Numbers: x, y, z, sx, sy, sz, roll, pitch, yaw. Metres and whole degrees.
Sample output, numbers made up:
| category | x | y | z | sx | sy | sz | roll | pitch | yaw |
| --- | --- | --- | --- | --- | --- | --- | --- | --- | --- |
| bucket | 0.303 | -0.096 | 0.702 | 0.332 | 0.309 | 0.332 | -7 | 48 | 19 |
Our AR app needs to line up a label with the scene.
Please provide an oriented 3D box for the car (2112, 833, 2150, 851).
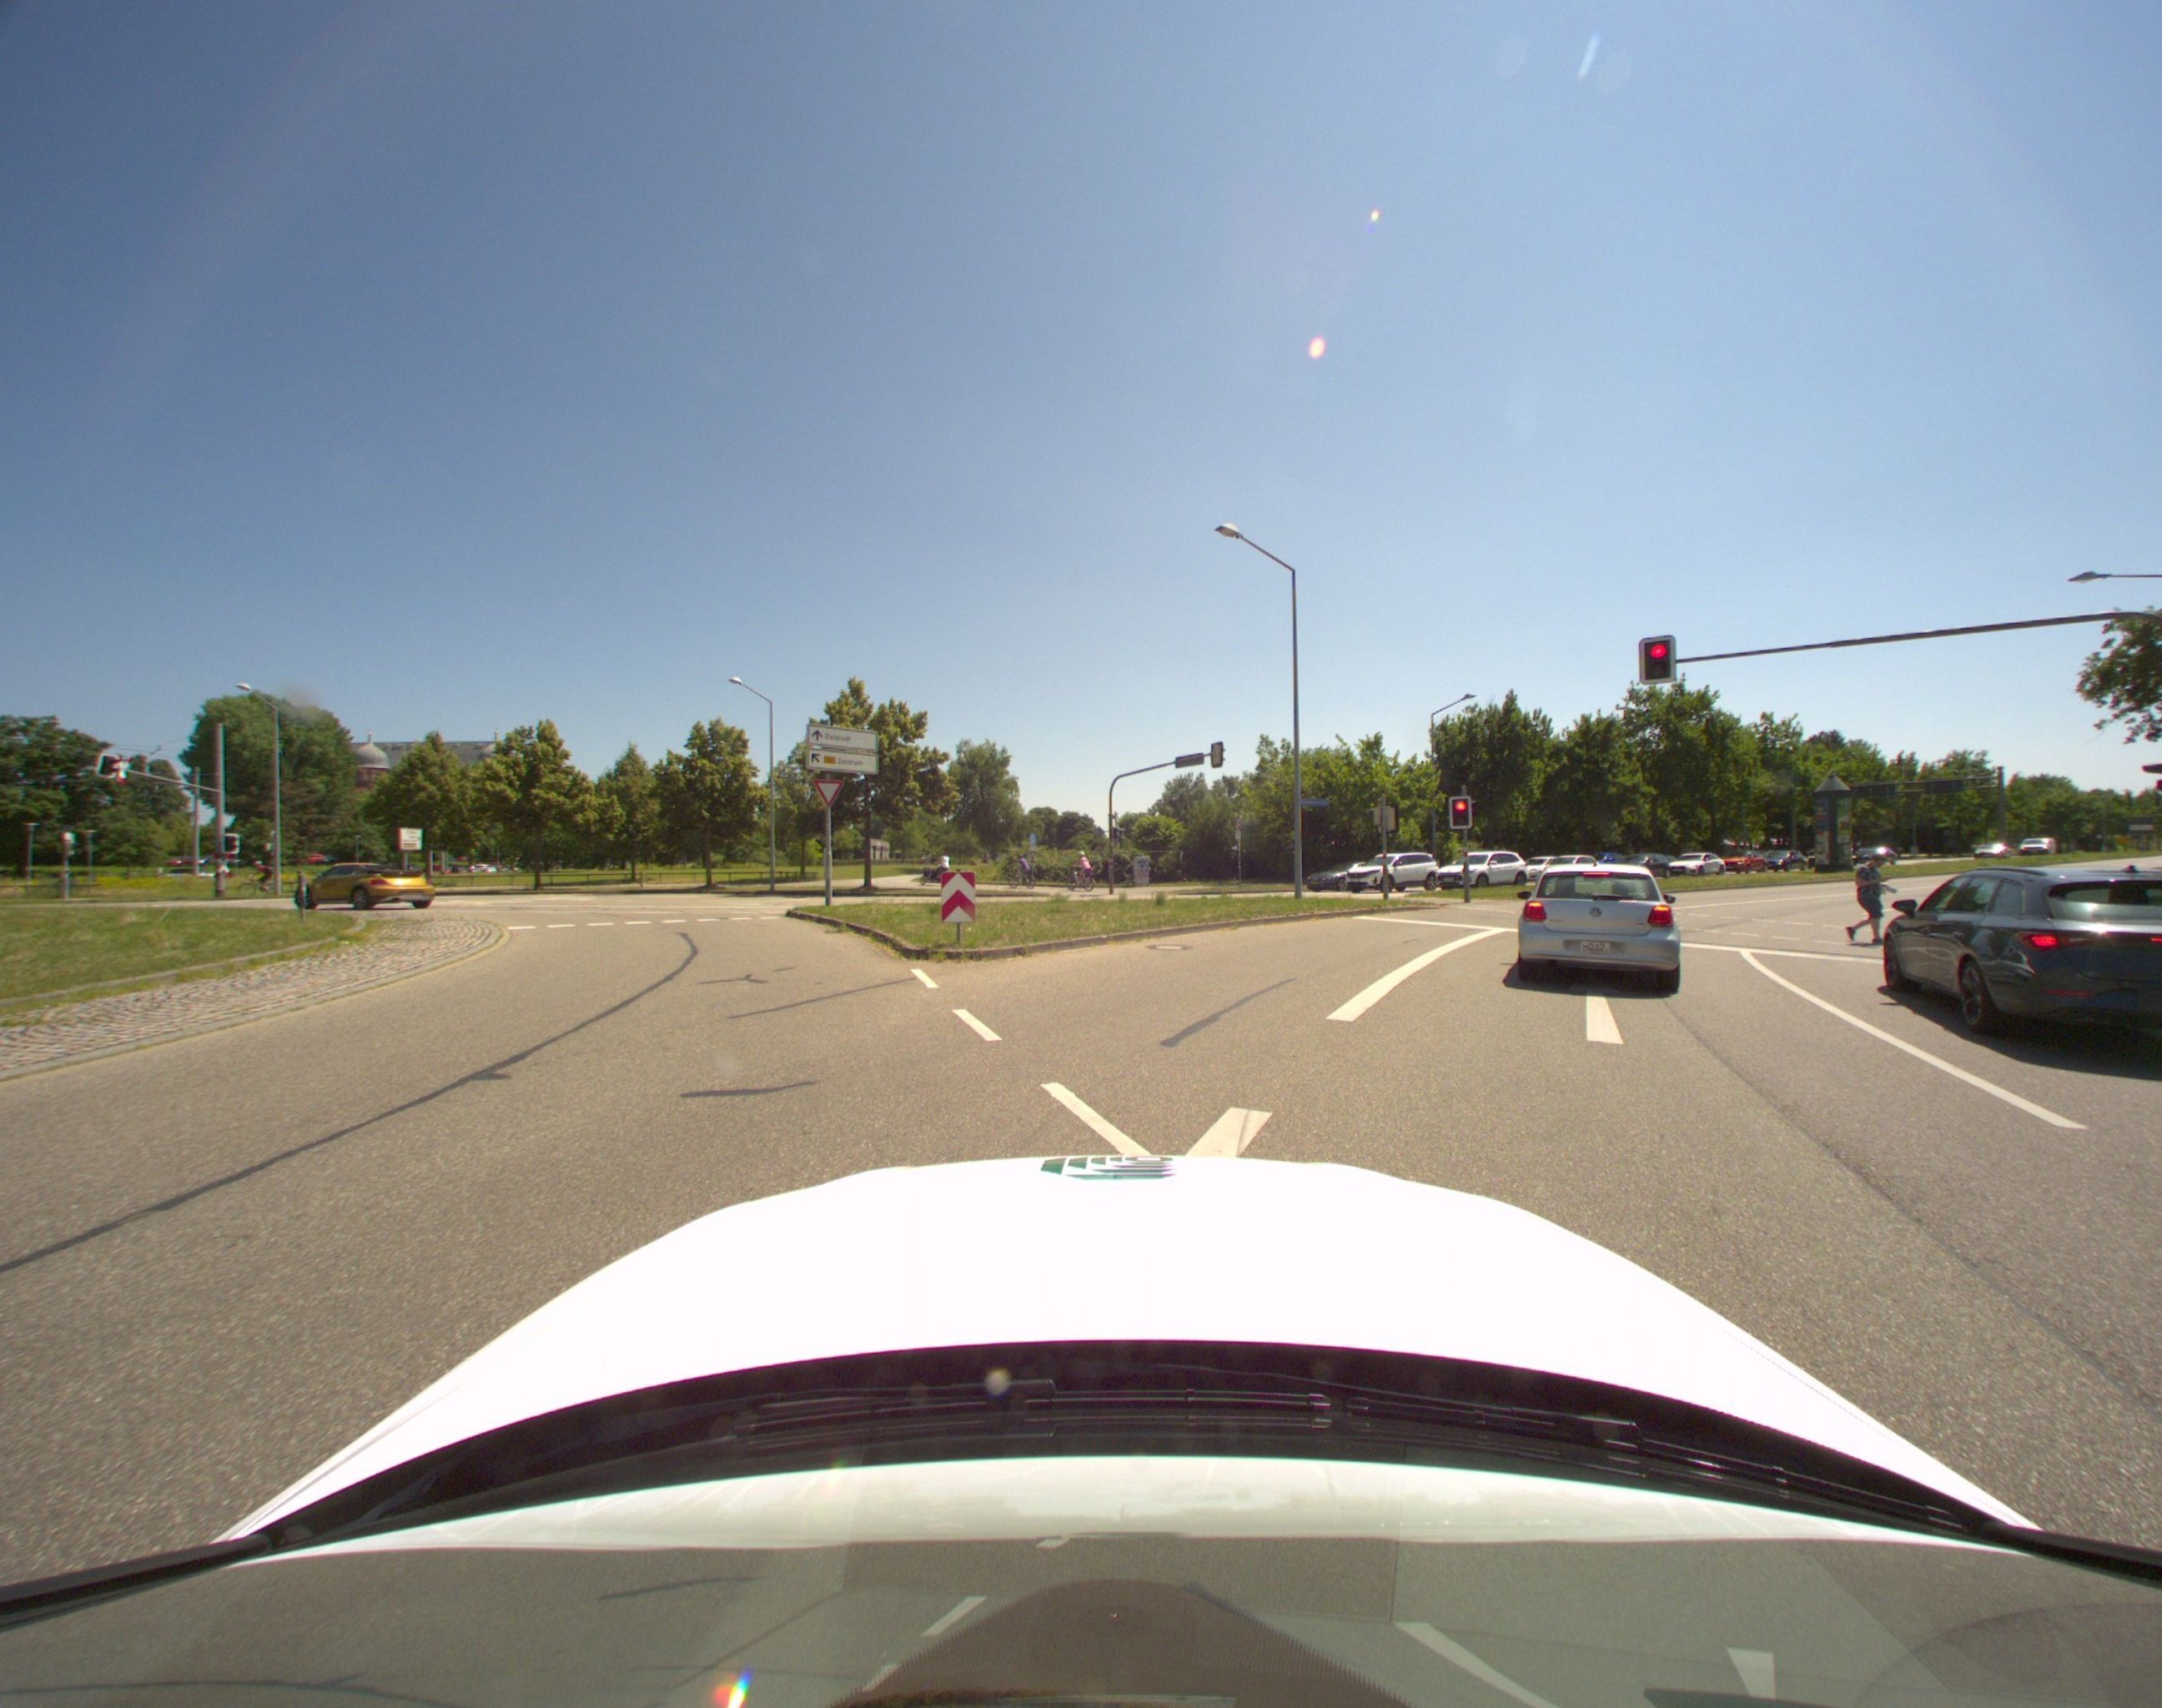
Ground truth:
| category | x | y | z | sx | sy | sz | roll | pitch | yaw |
| --- | --- | --- | --- | --- | --- | --- | --- | --- | --- |
| car | 106.048 | -1.205 | 82.248 | 4.154 | 1.692 | 1.789 | 0 | -2 | -30 |

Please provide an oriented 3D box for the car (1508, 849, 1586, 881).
| category | x | y | z | sx | sy | sz | roll | pitch | yaw |
| --- | --- | --- | --- | --- | --- | --- | --- | --- | --- |
| car | 26.458 | 0.598 | 46.174 | 4.421 | 1.683 | 1.847 | -1 | 0 | -30 |

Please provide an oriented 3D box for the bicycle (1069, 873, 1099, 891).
| category | x | y | z | sx | sy | sz | roll | pitch | yaw |
| --- | --- | --- | --- | --- | --- | --- | --- | --- | --- |
| bicycle | 0.115 | 1.358 | 39.843 | 0.897 | 0.900 | 2.214 | 1 | -1 | -16 |

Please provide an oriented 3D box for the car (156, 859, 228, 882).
| category | x | y | z | sx | sy | sz | roll | pitch | yaw |
| --- | --- | --- | --- | --- | --- | --- | --- | --- | --- |
| car | -80.836 | 1.496 | 74.156 | 4.015 | 2.014 | 1.979 | 0 | -2 | -33 |

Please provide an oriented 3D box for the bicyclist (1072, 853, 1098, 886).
| category | x | y | z | sx | sy | sz | roll | pitch | yaw |
| --- | --- | --- | --- | --- | --- | --- | --- | --- | --- |
| bicyclist | 0.173 | 0.760 | 39.788 | 0.959 | 1.610 | 1.179 | -1 | -1 | -16 |

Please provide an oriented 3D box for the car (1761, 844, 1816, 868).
| category | x | y | z | sx | sy | sz | roll | pitch | yaw |
| --- | --- | --- | --- | --- | --- | --- | --- | --- | --- |
| car | 47.534 | 0.147 | 54.712 | 3.809 | 1.475 | 1.704 | 0 | -2 | -31 |

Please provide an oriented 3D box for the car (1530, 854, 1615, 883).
| category | x | y | z | sx | sy | sz | roll | pitch | yaw |
| --- | --- | --- | --- | --- | --- | --- | --- | --- | --- |
| car | 25.498 | 0.723 | 42.233 | 4.421 | 1.422 | 1.847 | -1 | 0 | -30 |

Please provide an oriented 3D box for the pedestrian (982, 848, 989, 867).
| category | x | y | z | sx | sy | sz | roll | pitch | yaw |
| --- | --- | --- | --- | --- | --- | --- | --- | --- | --- |
| pedestrian | -8.956 | 0.364 | 76.311 | 0.571 | 1.731 | 0.675 | -1 | -2 | 1 |

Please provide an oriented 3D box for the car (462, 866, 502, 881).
| category | x | y | z | sx | sy | sz | roll | pitch | yaw |
| --- | --- | --- | --- | --- | --- | --- | --- | --- | --- |
| car | -80.362 | 2.624 | 109.384 | 4.007 | 2.014 | 1.983 | 0 | -2 | -26 |

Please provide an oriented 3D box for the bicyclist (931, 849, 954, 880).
| category | x | y | z | sx | sy | sz | roll | pitch | yaw |
| --- | --- | --- | --- | --- | --- | --- | --- | --- | --- |
| bicyclist | -7.583 | 0.583 | 44.609 | 0.965 | 1.614 | 0.761 | -2 | -2 | 31 |

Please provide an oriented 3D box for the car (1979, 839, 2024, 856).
| category | x | y | z | sx | sy | sz | roll | pitch | yaw |
| --- | --- | --- | --- | --- | --- | --- | --- | --- | --- |
| car | 82.463 | -0.582 | 72.938 | 4.012 | 1.488 | 1.957 | -1 | 0 | -30 |

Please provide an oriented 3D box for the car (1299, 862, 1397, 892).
| category | x | y | z | sx | sy | sz | roll | pitch | yaw |
| --- | --- | --- | --- | --- | --- | --- | --- | --- | --- |
| car | 12.434 | 1.018 | 37.813 | 4.421 | 1.270 | 1.847 | -1 | 0 | -30 |

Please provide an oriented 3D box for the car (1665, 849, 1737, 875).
| category | x | y | z | sx | sy | sz | roll | pitch | yaw |
| --- | --- | --- | --- | --- | --- | --- | --- | --- | --- |
| car | 37.220 | 0.465 | 48.892 | 4.421 | 1.422 | 1.847 | -1 | 0 | -30 |

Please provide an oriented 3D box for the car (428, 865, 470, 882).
| category | x | y | z | sx | sy | sz | roll | pitch | yaw |
| --- | --- | --- | --- | --- | --- | --- | --- | --- | --- |
| car | -80.621 | 2.474 | 103.996 | 4.015 | 2.014 | 1.979 | 0 | -2 | -33 |

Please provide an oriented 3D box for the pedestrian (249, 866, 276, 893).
| category | x | y | z | sx | sy | sz | roll | pitch | yaw |
| --- | --- | --- | --- | --- | --- | --- | --- | --- | --- |
| pedestrian | -44.806 | 1.372 | 44.601 | 0.820 | 1.451 | 0.703 | 0 | -2 | -26 |

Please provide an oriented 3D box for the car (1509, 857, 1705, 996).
| category | x | y | z | sx | sy | sz | roll | pitch | yaw |
| --- | --- | --- | --- | --- | --- | --- | --- | --- | --- |
| car | 6.714 | 0.788 | 10.806 | 1.760 | 1.422 | 4.024 | -1 | 0 | 27 |

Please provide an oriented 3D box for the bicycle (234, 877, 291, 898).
| category | x | y | z | sx | sy | sz | roll | pitch | yaw |
| --- | --- | --- | --- | --- | --- | --- | --- | --- | --- |
| bicycle | -44.792 | 1.831 | 44.588 | 2.063 | 1.115 | 0.723 | 0 | -2 | -27 |

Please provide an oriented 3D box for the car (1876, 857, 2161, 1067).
| category | x | y | z | sx | sy | sz | roll | pitch | yaw |
| --- | --- | --- | --- | --- | --- | --- | --- | --- | --- |
| car | 9.087 | 0.772 | 7.455 | 1.974 | 1.418 | 4.484 | -1 | 0 | 36 |

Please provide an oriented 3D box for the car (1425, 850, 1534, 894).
| category | x | y | z | sx | sy | sz | roll | pitch | yaw |
| --- | --- | --- | --- | --- | --- | --- | --- | --- | --- |
| car | 16.430 | 0.687 | 33.527 | 4.421 | 1.683 | 1.847 | -1 | 0 | -30 |

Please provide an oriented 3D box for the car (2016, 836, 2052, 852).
| category | x | y | z | sx | sy | sz | roll | pitch | yaw |
| --- | --- | --- | --- | --- | --- | --- | --- | --- | --- |
| car | 99.328 | -1.043 | 84.860 | 4.013 | 1.554 | 1.850 | -1 | 0 | -31 |

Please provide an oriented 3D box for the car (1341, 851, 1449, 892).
| category | x | y | z | sx | sy | sz | roll | pitch | yaw |
| --- | --- | --- | --- | --- | --- | --- | --- | --- | --- |
| car | 13.229 | 0.702 | 34.281 | 4.421 | 1.618 | 1.847 | -1 | 0 | -30 |

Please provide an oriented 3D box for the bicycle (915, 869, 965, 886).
| category | x | y | z | sx | sy | sz | roll | pitch | yaw |
| --- | --- | --- | --- | --- | --- | --- | --- | --- | --- |
| bicycle | -7.754 | 1.304 | 44.695 | 2.891 | 0.912 | 0.745 | -2 | -2 | 31 |

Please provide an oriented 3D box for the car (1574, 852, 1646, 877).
| category | x | y | z | sx | sy | sz | roll | pitch | yaw |
| --- | --- | --- | --- | --- | --- | --- | --- | --- | --- |
| car | 32.251 | 0.612 | 49.635 | 4.421 | 1.422 | 1.847 | -1 | 0 | -30 |

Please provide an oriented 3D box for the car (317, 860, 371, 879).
| category | x | y | z | sx | sy | sz | roll | pitch | yaw |
| --- | --- | --- | --- | --- | --- | --- | --- | --- | --- |
| car | -80.352 | 1.676 | 88.880 | 4.015 | 2.014 | 1.979 | 0 | -2 | -33 |

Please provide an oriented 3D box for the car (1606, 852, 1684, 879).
| category | x | y | z | sx | sy | sz | roll | pitch | yaw |
| --- | --- | --- | --- | --- | --- | --- | --- | --- | --- |
| car | 31.520 | 0.627 | 45.470 | 4.421 | 1.422 | 1.847 | -1 | 0 | -30 |

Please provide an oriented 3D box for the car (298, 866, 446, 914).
| category | x | y | z | sx | sy | sz | roll | pitch | yaw |
| --- | --- | --- | --- | --- | --- | --- | --- | --- | --- |
| car | -21.755 | 1.074 | 25.012 | 3.619 | 1.403 | 1.840 | -1 | -1 | 19 |

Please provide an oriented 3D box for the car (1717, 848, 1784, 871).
| category | x | y | z | sx | sy | sz | roll | pitch | yaw |
| --- | --- | --- | --- | --- | --- | --- | --- | --- | --- |
| car | 43.289 | 0.349 | 52.641 | 4.421 | 1.422 | 1.847 | -1 | 0 | -30 |

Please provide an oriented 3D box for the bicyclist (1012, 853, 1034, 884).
| category | x | y | z | sx | sy | sz | roll | pitch | yaw |
| --- | --- | --- | --- | --- | --- | --- | --- | --- | --- |
| bicyclist | -2.991 | 0.722 | 41.830 | 0.957 | 1.531 | 1.182 | -1 | 1 | -11 |

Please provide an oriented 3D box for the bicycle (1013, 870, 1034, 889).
| category | x | y | z | sx | sy | sz | roll | pitch | yaw |
| --- | --- | --- | --- | --- | --- | --- | --- | --- | --- |
| bicycle | -2.978 | 1.312 | 41.825 | 0.895 | 0.900 | 1.756 | 1 | 1 | -10 |

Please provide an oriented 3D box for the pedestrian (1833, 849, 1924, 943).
| category | x | y | z | sx | sy | sz | roll | pitch | yaw |
| --- | --- | --- | --- | --- | --- | --- | --- | --- | --- |
| pedestrian | 14.421 | 0.740 | 14.739 | 0.759 | 1.638 | 0.947 | 0 | -2 | -29 |

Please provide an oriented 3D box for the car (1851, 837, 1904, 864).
| category | x | y | z | sx | sy | sz | roll | pitch | yaw |
| --- | --- | --- | --- | --- | --- | --- | --- | --- | --- |
| car | 61.944 | -0.265 | 63.317 | 4.013 | 2.014 | 1.980 | 0 | -2 | -31 |
